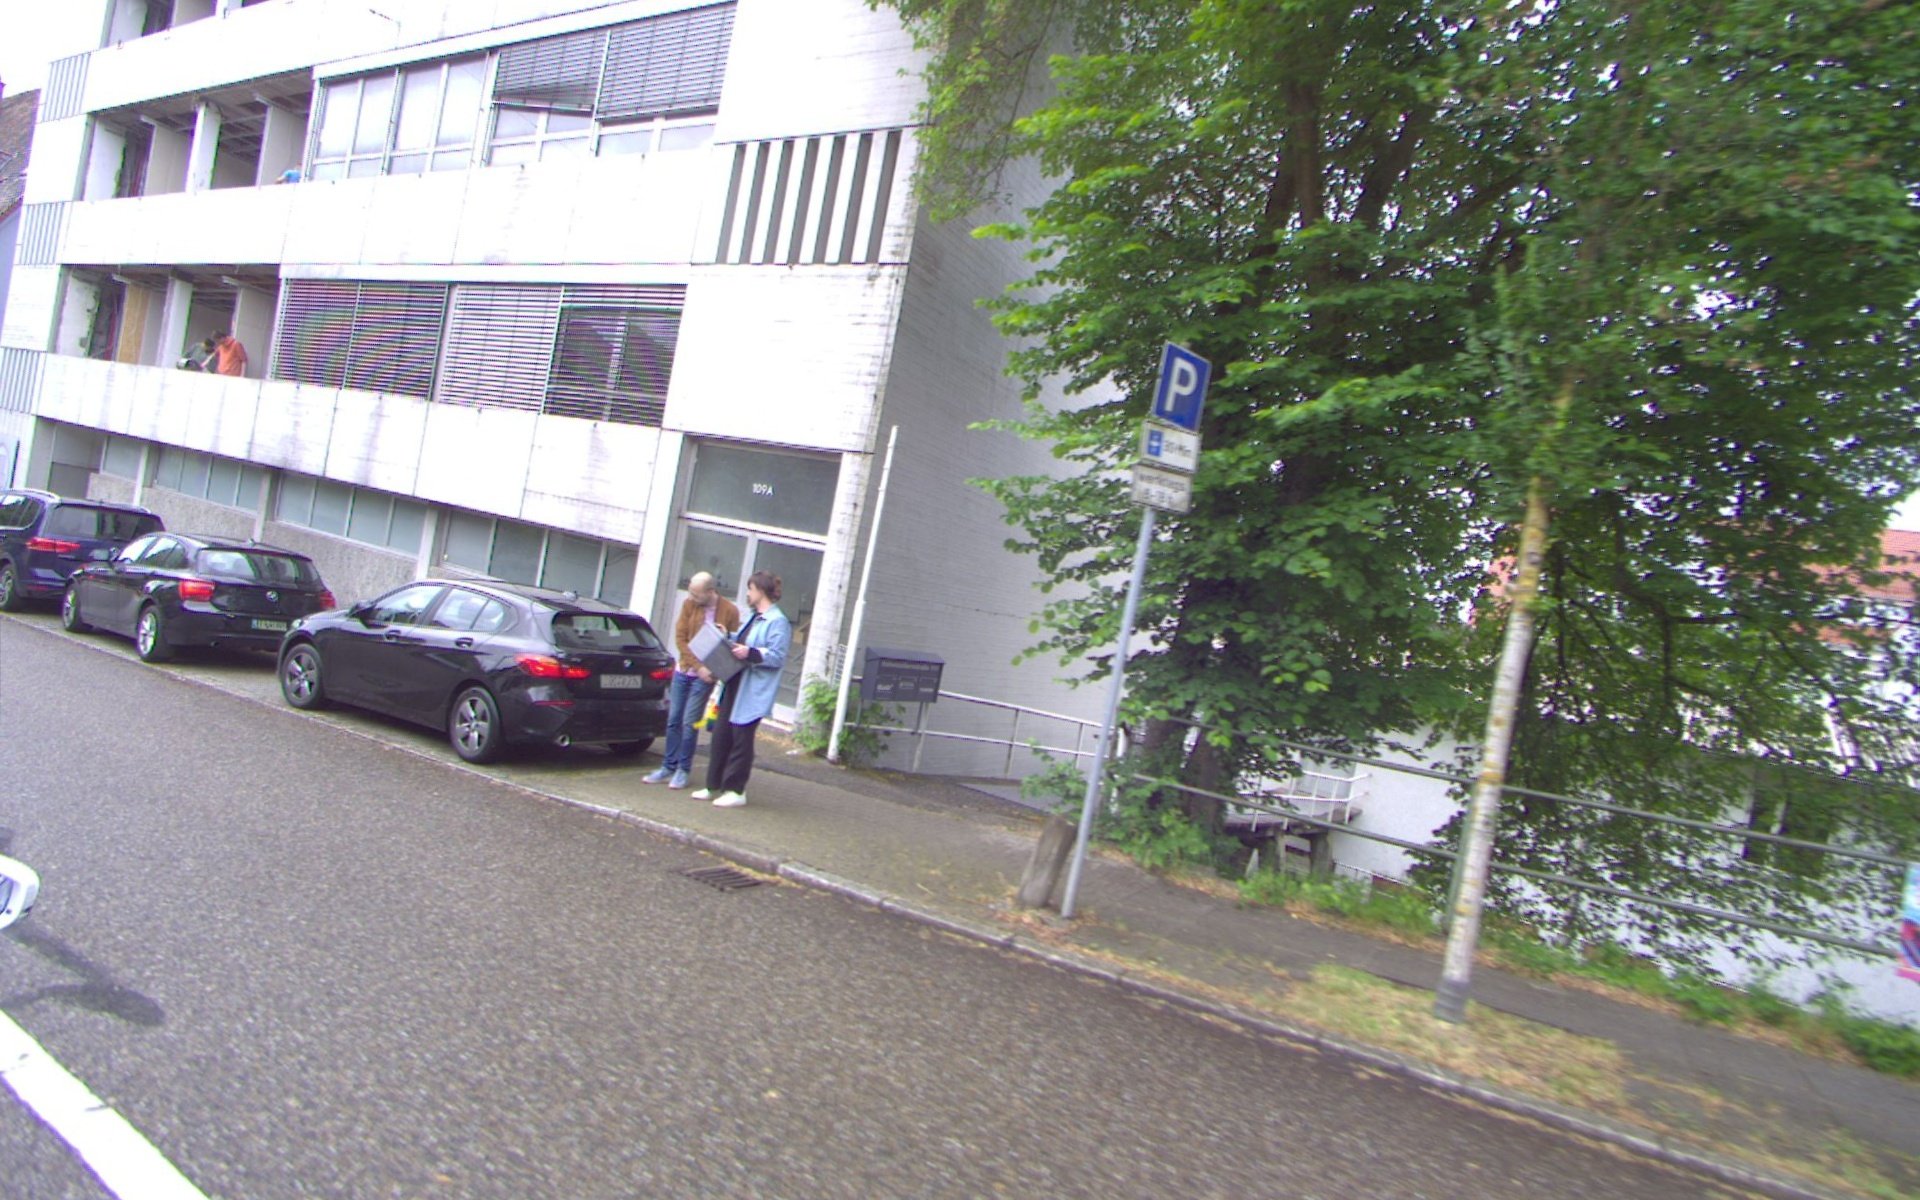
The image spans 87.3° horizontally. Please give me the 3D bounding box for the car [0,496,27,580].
[{"bbox_3d":[-19.497,-1.434,18.606,4.449,1.465,1.966,7,-1,30],"label":"car"}]

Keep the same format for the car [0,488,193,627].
[{"bbox_3d":[-13.212,-0.706,14.609,4.090,1.618,1.732,7,-1,30],"label":"car"}]

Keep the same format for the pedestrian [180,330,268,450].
[{"bbox_3d":[-14.092,-3.992,19.267,0.846,2.037,0.909,6,-1,31],"label":"pedestrian"}]

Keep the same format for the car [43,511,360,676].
[{"bbox_3d":[-9.334,-0.115,12.286,4.183,1.466,1.750,7,-1,34],"label":"car"}]

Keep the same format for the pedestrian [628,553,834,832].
[{"bbox_3d":[-1.651,0.668,7.434,1.053,1.801,0.825,8,-2,3],"label":"pedestrian"}]

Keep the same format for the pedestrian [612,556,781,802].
[{"bbox_3d":[-2.143,0.639,8.347,0.809,1.802,1.075,8,-2,5],"label":"pedestrian"}]

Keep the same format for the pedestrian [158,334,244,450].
[{"bbox_3d":[-14.994,-4.087,19.872,0.846,2.037,0.909,6,-1,31],"label":"pedestrian"}]

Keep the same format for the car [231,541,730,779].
[{"bbox_3d":[-4.582,0.483,9.507,4.367,1.451,1.998,7,-2,30],"label":"car"}]
